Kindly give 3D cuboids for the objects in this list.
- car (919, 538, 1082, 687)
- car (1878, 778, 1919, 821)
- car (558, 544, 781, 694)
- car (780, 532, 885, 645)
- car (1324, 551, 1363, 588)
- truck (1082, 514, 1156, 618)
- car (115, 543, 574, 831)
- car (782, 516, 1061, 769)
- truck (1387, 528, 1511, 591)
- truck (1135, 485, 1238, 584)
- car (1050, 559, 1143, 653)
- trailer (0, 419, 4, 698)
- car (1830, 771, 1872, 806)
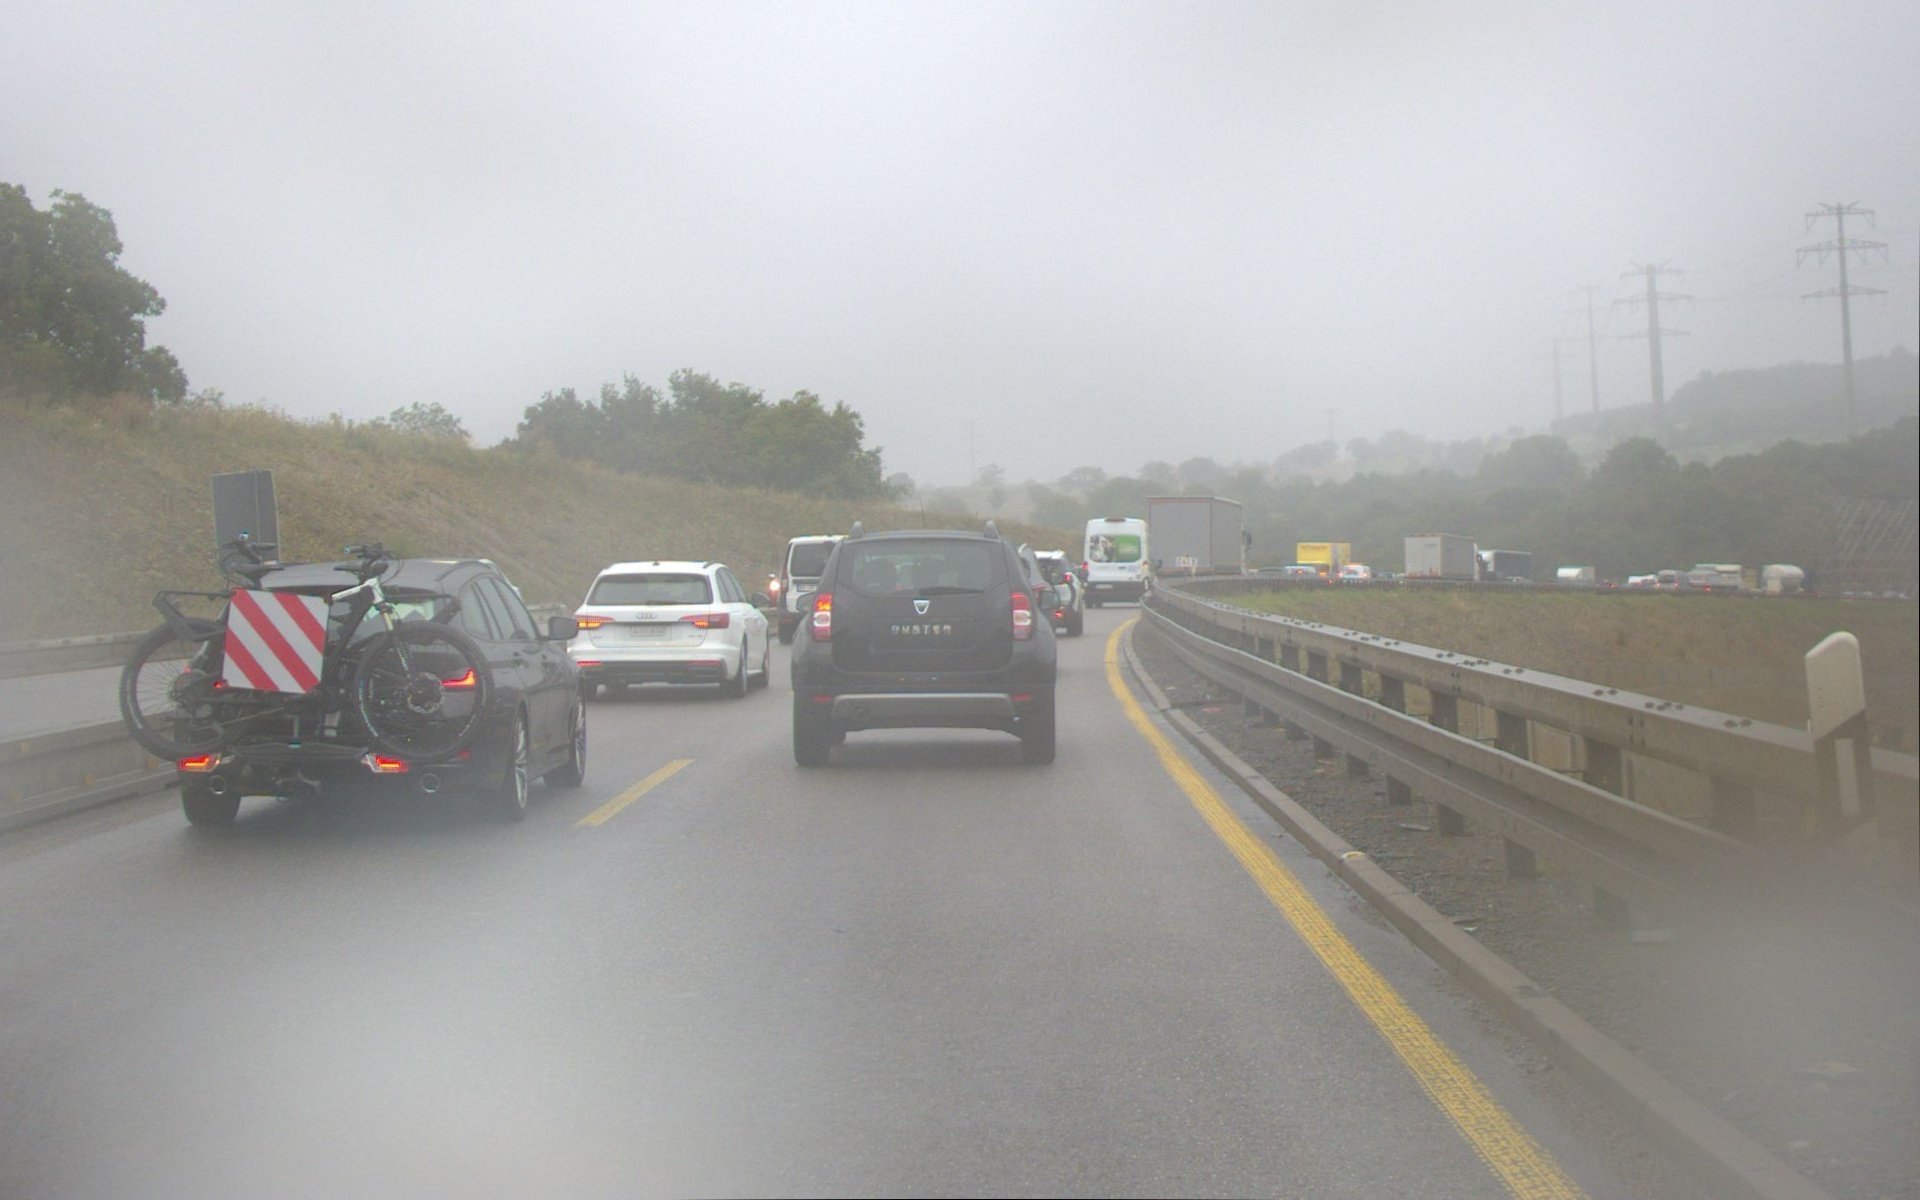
[{"bbox_3d":[0.450,0.126,41.804,1.867,1.703,4.000,1,1,0],"label":"car"},{"bbox_3d":[50.392,10.606,183.054,2.366,2.007,3.999,1,1,7],"label":"car"},{"bbox_3d":[-2.994,0.166,36.253,1.867,1.455,4.548,1,1,1],"label":"car"},{"bbox_3d":[-2.168,-0.218,59.415,1.660,1.873,4.020,1,1,0],"label":"car"},{"bbox_3d":[20.269,-1.612,181.604,1.776,1.909,3.998,1,1,10],"label":"car"},{"bbox_3d":[4.983,-1.074,108.362,2.149,3.155,6.459,1,1,2],"label":"truck"},{"bbox_3d":[-3.364,0.433,19.483,1.829,1.471,3.776,0,0,2],"label":"car"},{"bbox_3d":[-0.247,0.264,24.246,1.804,1.640,3.776,0,0,0],"label":"car"},{"bbox_3d":[33.982,-2.762,238.123,4.723,4.135,15.664,1,1,23],"label":"truck"},{"bbox_3d":[9.002,-2.547,135.657,3.202,3.748,8.506,1,1,9],"label":"truck"},{"bbox_3d":[2.454,0.086,62.587,1.530,1.635,4.013,1,1,0],"label":"car"},{"bbox_3d":[-10.082,-0.327,28.050,2.510,2.556,7.163,1,1,0],"label":"trailer"},{"bbox_3d":[51.720,10.947,199.637,1.994,1.809,3.998,0,0,9],"label":"car"}]
